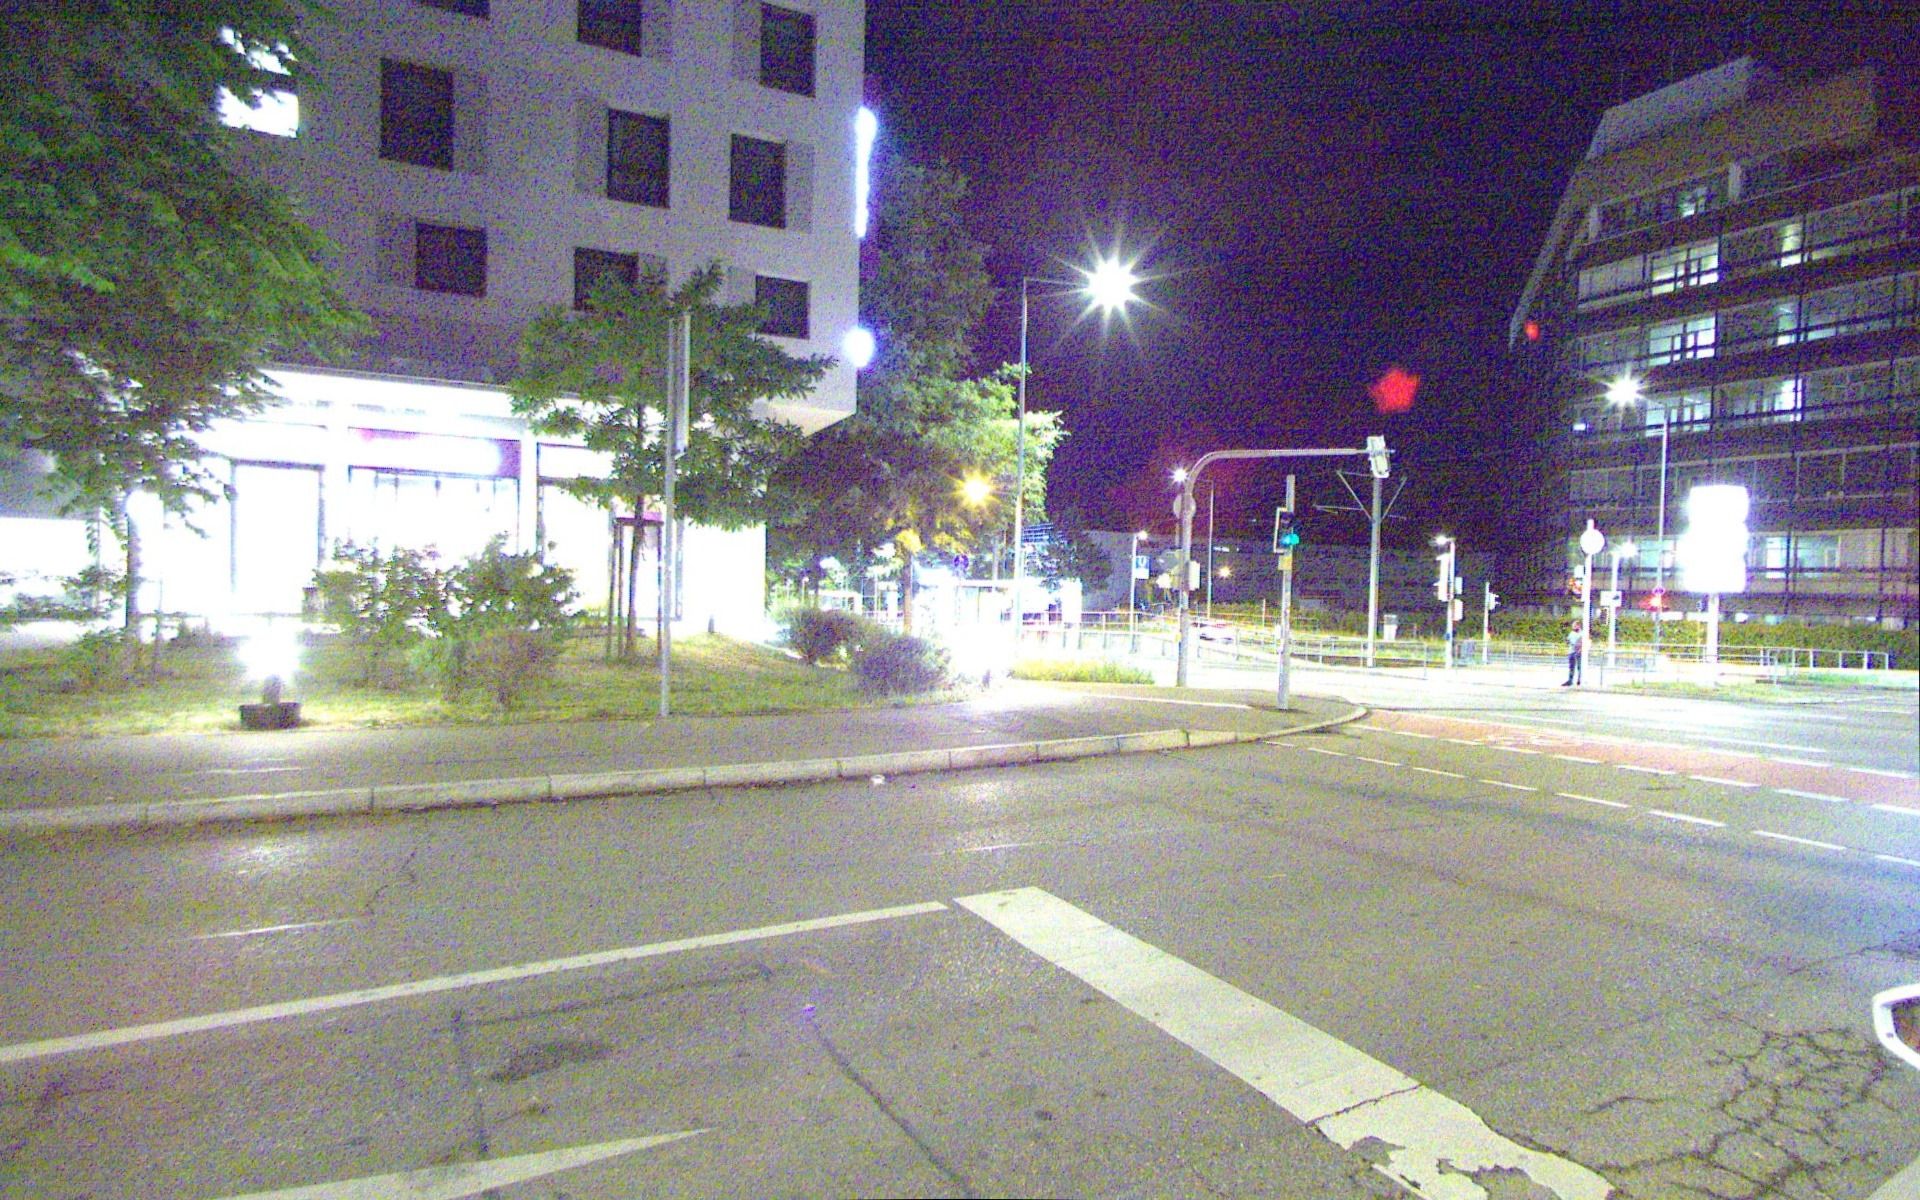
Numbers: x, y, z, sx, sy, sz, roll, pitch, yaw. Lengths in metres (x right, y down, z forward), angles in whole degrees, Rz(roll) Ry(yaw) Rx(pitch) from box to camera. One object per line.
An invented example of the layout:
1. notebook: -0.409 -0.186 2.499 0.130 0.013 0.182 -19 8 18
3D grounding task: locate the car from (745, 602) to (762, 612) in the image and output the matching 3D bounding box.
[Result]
1. car: -33.481 1.131 162.926 1.845 1.506 3.822 3 0 -26

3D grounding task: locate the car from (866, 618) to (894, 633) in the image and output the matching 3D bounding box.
1. car: -8.887 2.825 111.506 1.845 1.506 3.822 3 0 -26

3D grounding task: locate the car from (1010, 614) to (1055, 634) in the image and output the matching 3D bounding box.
1. car: 6.068 2.047 84.740 1.755 1.506 4.559 1 0 -26

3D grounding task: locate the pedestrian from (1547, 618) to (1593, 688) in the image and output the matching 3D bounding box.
1. pedestrian: 15.692 1.350 25.853 0.692 1.745 0.679 2 0 -1

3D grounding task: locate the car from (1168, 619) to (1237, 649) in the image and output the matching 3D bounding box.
1. car: 15.572 2.168 64.618 1.916 1.665 4.382 3 0 -26
